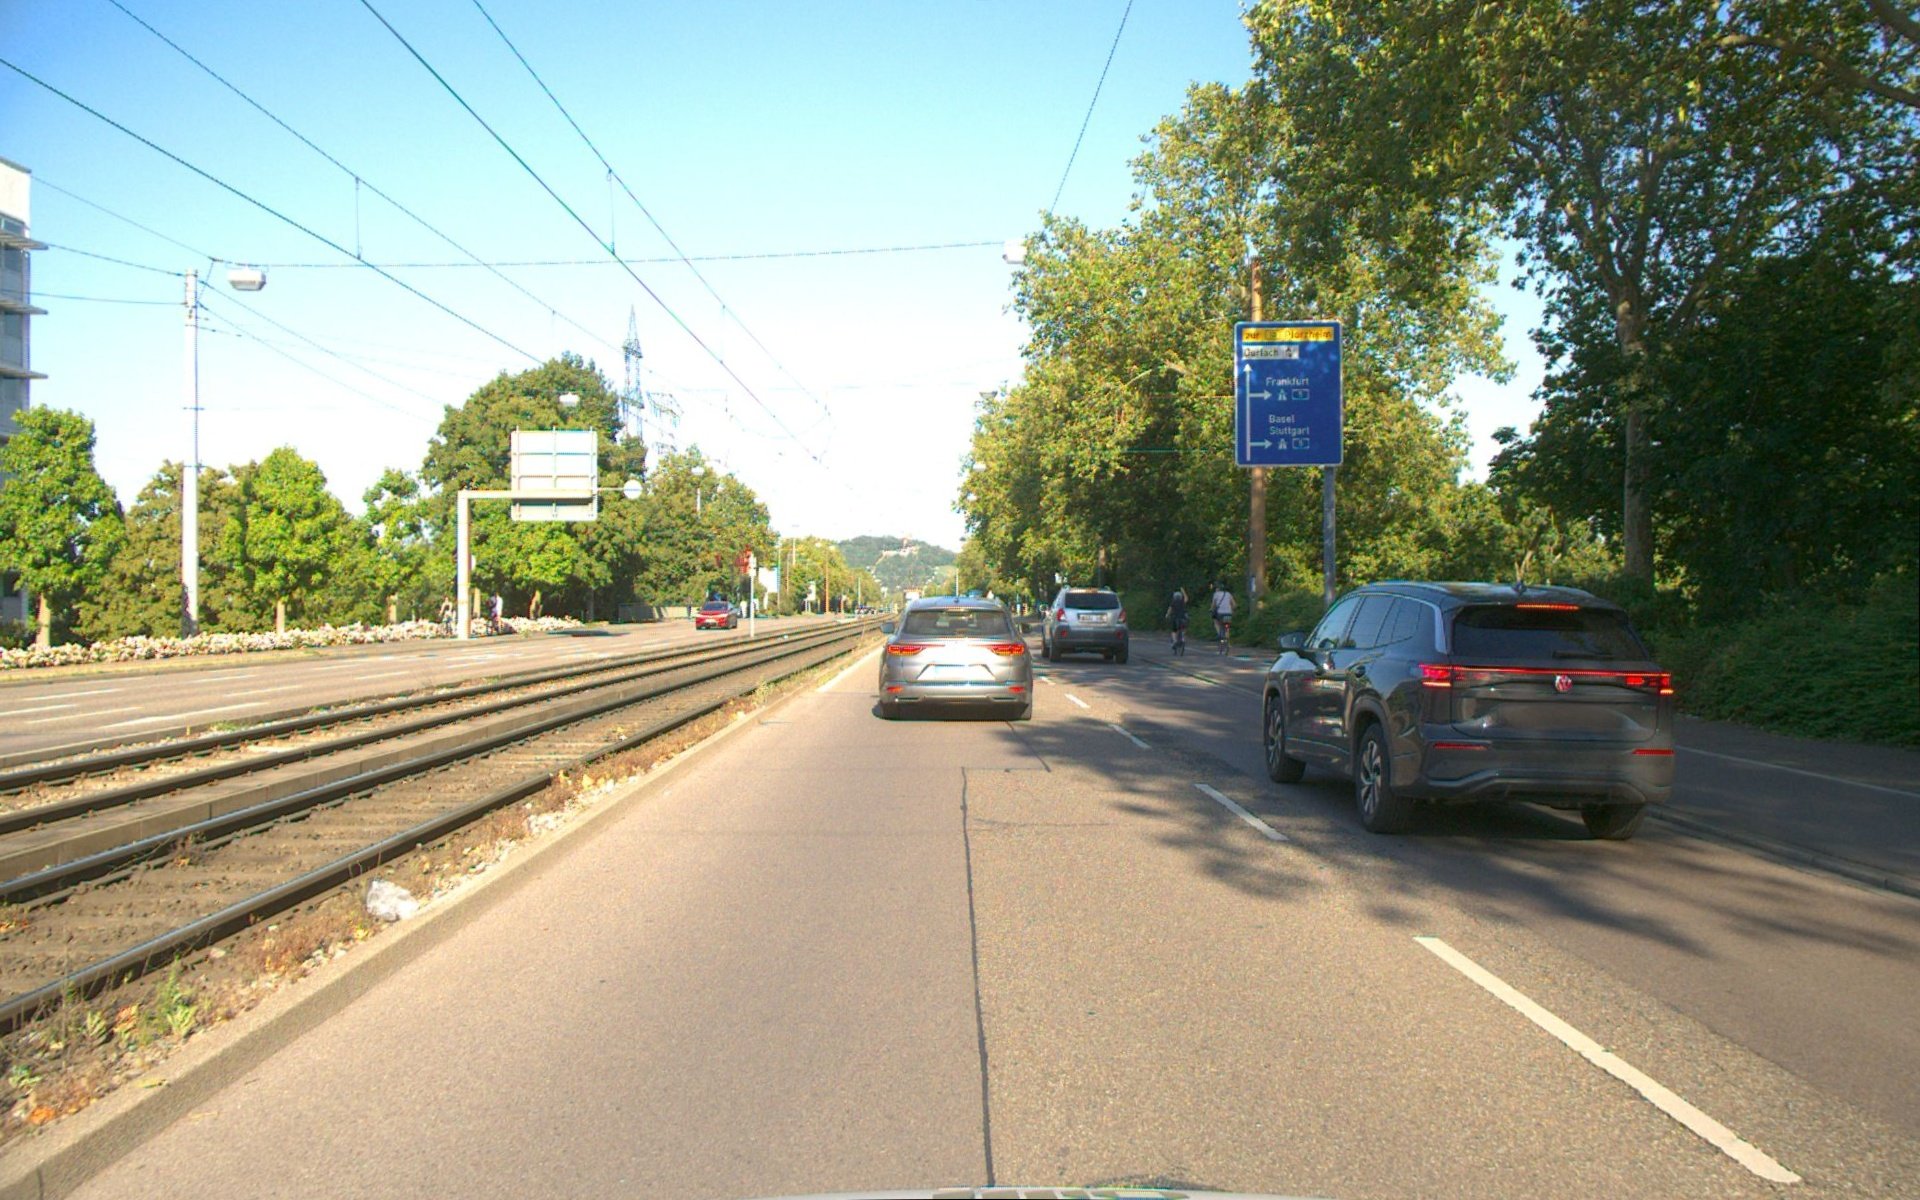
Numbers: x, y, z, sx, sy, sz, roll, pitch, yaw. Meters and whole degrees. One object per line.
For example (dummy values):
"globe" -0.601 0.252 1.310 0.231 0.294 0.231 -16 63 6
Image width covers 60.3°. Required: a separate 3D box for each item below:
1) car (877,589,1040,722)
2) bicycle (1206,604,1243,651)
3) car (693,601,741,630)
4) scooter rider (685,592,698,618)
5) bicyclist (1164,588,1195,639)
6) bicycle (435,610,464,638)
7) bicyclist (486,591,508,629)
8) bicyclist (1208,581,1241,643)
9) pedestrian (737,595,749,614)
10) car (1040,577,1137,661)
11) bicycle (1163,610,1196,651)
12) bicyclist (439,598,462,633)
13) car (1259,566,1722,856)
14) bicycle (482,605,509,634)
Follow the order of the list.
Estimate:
"car" -0.020 0.613 20.995 1.828 1.493 4.666 0 0 0
"bicycle" 6.633 0.680 41.551 0.609 1.140 1.813 -1 0 -1
"car" -13.655 0.841 93.040 1.998 1.529 4.887 0 0 0
"scooter rider" -20.185 0.366 124.360 0.667 1.881 1.001 -1 0 7
"bicyclist" 5.499 0.337 41.499 0.628 1.247 0.890 -1 0 -1
"bicycle" -20.915 0.979 67.783 0.612 1.077 1.703 2 0 0
"bicyclist" -20.677 0.440 73.896 0.590 1.688 0.963 2 0 2
"bicyclist" 6.634 0.296 41.581 0.671 1.535 0.890 0 0 -1
"pedestrian" -20.740 0.417 158.140 0.709 1.787 0.835 2 -1 21
"car" 3.011 0.420 39.415 1.845 1.827 3.999 2 0 -1
"bicycle" 5.501 0.756 41.536 0.554 0.991 1.788 -1 0 -1
"bicyclist" -20.892 0.632 67.804 0.612 1.398 0.880 2 0 -1
"car" 3.552 0.635 12.030 1.807 1.690 4.438 1 1 -2
"bicycle" -20.704 0.857 73.768 0.590 1.240 1.749 2 0 2
